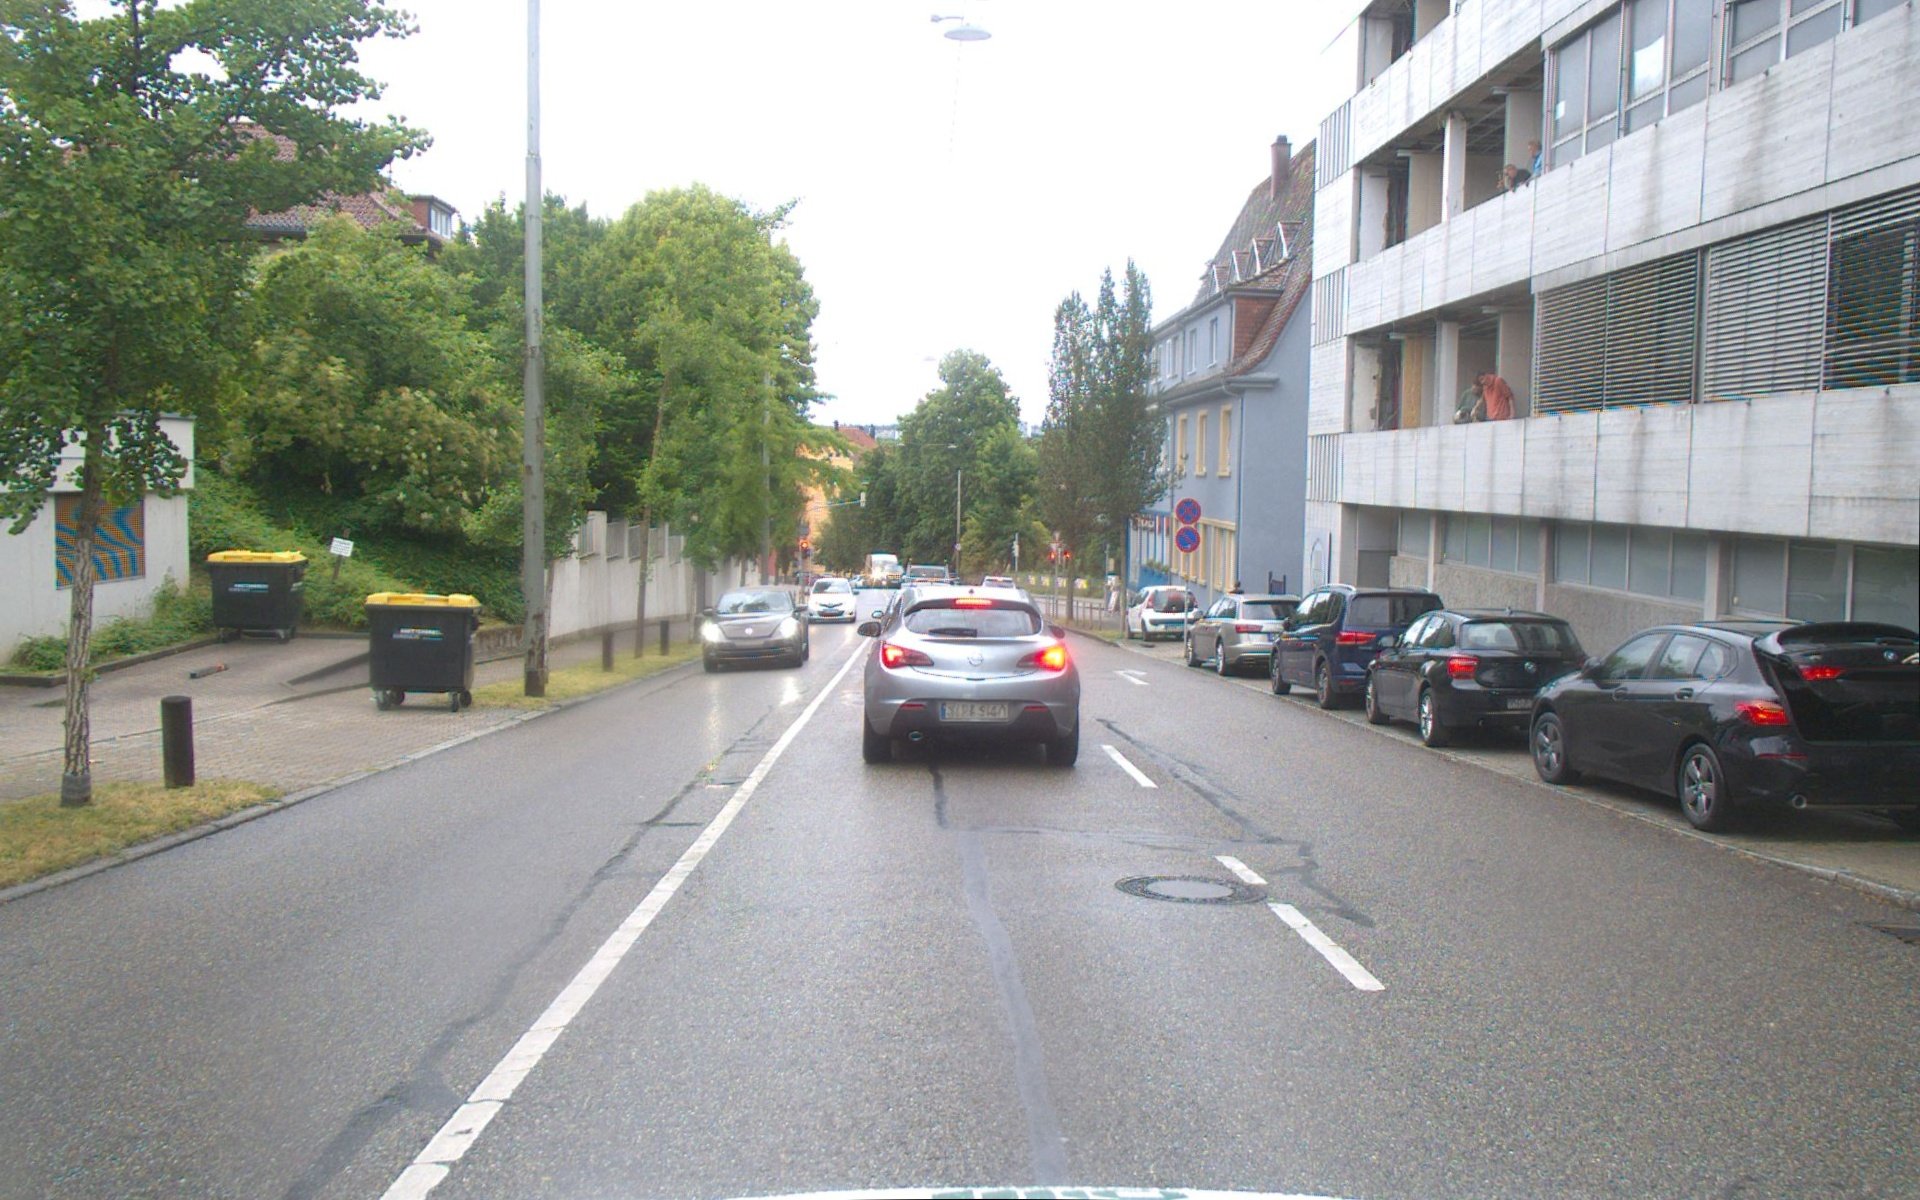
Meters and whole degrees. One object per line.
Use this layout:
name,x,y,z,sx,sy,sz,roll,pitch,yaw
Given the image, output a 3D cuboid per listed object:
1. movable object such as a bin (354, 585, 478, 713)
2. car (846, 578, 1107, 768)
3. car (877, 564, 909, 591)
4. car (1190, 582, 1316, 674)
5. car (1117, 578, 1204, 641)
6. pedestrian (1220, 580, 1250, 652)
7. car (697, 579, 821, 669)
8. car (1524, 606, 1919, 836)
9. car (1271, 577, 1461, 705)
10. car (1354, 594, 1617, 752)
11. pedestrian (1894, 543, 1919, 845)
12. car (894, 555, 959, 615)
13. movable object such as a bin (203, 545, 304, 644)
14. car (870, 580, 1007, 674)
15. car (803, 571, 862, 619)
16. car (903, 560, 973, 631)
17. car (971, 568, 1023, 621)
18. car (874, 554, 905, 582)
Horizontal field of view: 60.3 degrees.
movable object such as a bin,-6.305,0.561,19.194,1.247,1.411,0.488,2,1,-4
car,0.005,0.553,14.870,1.908,1.457,3.880,1,1,-6
car,-4.449,-1.523,109.787,1.953,1.562,4.308,4,2,-1
car,5.382,0.456,30.873,1.552,1.519,4.290,0,2,-1
car,5.494,0.216,45.750,1.867,1.598,4.000,0,2,-1
pedestrian,7.020,0.405,42.230,0.632,1.815,0.542,1,1,-1
car,-3.701,0.400,31.076,1.812,1.494,4.087,-2,1,-1
car,5.889,0.799,12.874,1.473,1.460,3.998,0,0,-3
car,5.603,0.498,23.304,1.651,1.598,4.000,0,2,-1
car,5.748,0.727,18.599,1.647,1.489,4.000,0,2,-1
pedestrian,6.292,0.571,10.418,0.652,1.868,0.687,0,2,34
car,-1.278,-0.623,63.888,2.287,2.071,4.734,4,2,-1
movable object such as a bin,-10.514,-0.083,24.629,1.247,1.411,0.488,2,1,-4
car,-0.421,0.394,26.759,1.763,1.346,3.994,2,0,-7
car,-4.451,-0.206,58.205,1.786,1.504,3.863,-3,2,-1
car,-0.665,-0.175,47.658,1.734,1.811,3.974,4,2,-3
car,1.605,-0.266,72.679,1.953,2.071,4.734,4,2,-2
car,-4.960,-2.281,117.340,1.953,1.815,4.000,4,2,-1
